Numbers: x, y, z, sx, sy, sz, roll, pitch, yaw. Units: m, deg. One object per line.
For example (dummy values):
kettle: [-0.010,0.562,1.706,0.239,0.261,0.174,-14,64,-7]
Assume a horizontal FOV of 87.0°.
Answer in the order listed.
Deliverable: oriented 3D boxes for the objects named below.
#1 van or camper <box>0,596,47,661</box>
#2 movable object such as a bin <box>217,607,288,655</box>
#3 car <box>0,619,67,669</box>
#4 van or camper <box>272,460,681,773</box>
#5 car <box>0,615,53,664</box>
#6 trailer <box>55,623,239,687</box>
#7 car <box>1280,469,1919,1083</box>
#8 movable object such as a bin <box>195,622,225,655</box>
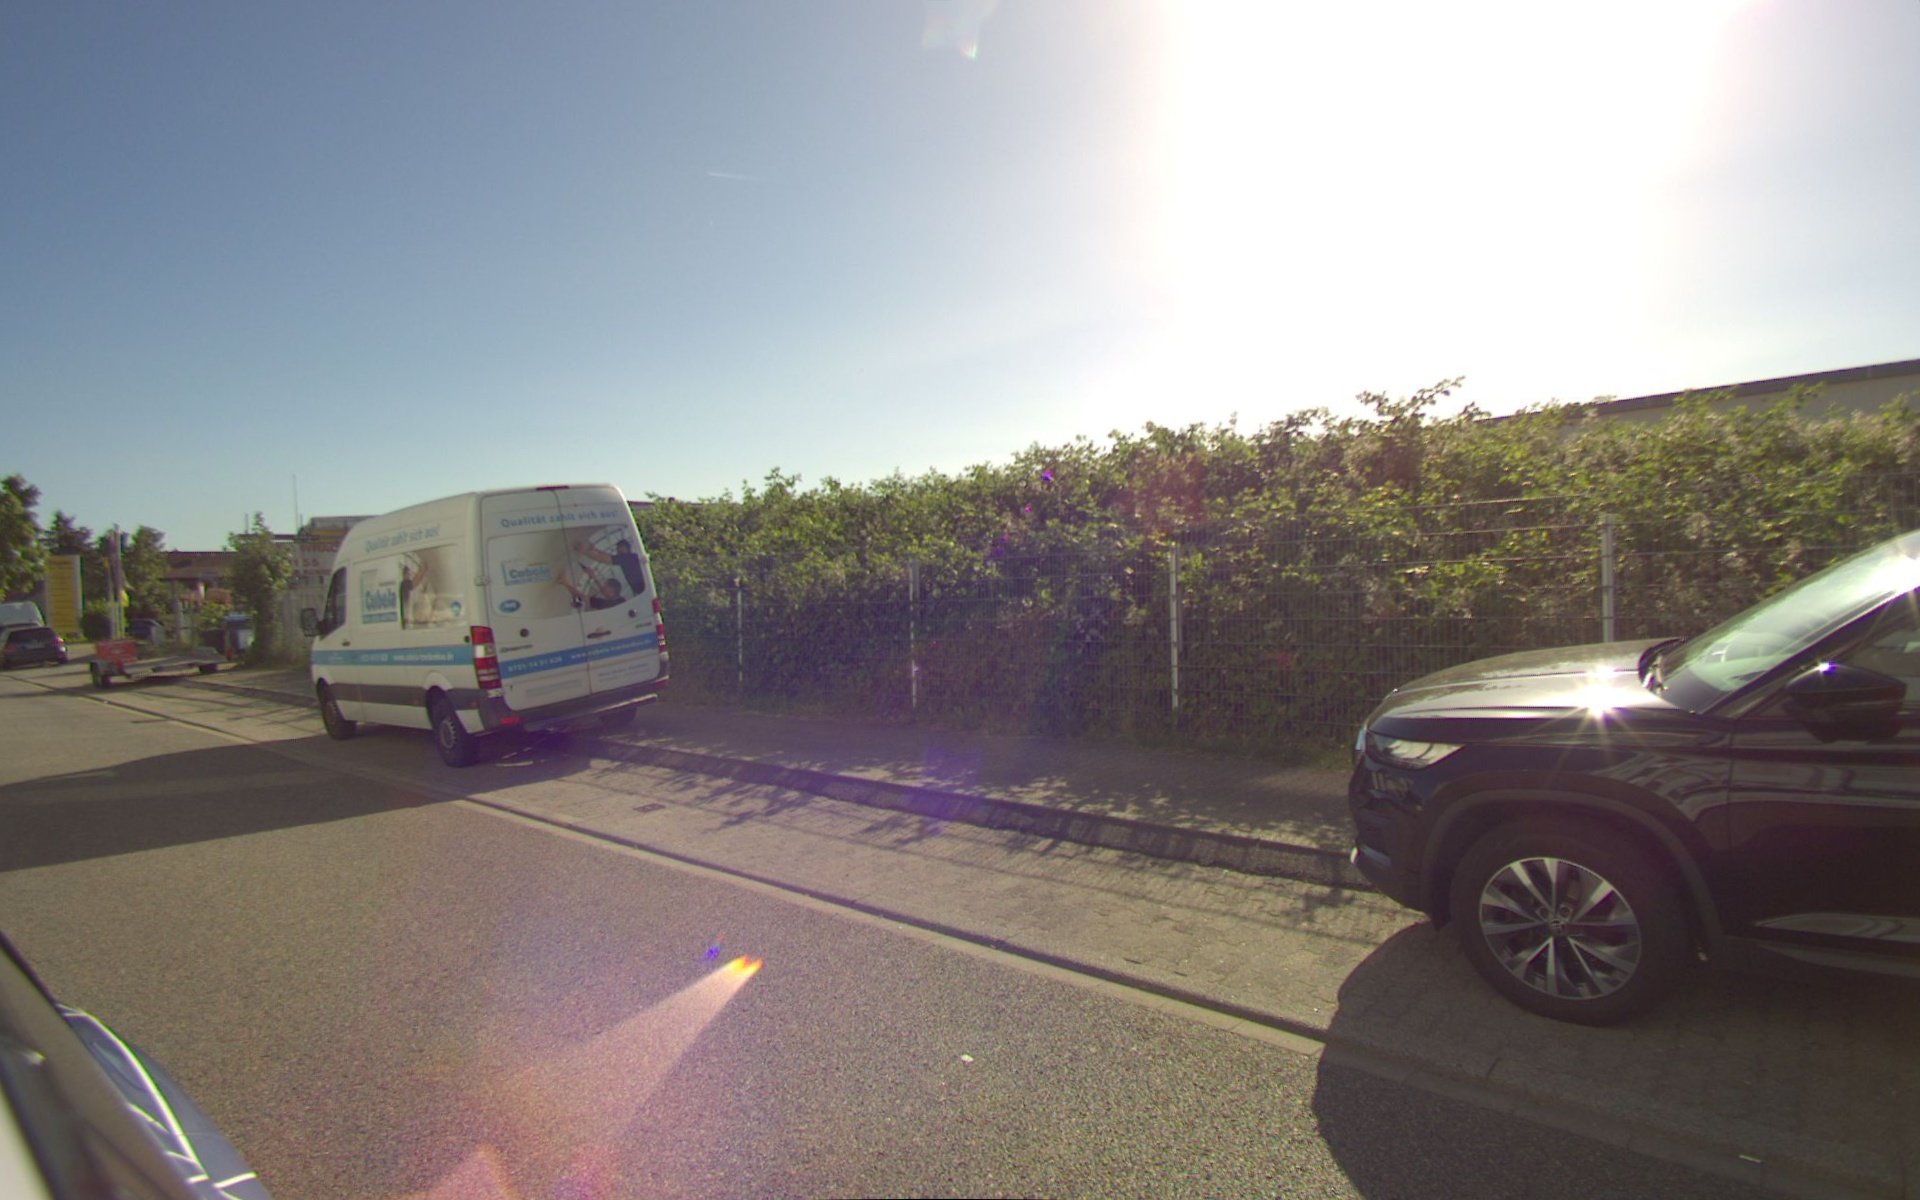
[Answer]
van or camper: [-42.210,1.285,44.577,6.401,2.567,2.050,-2,4,42]
movable object such as a bin: [-22.659,0.965,32.472,1.596,1.415,1.099,-3,1,-21]
car: [-34.356,1.575,37.096,5.001,1.520,1.781,-1,4,42]
van or camper: [-5.776,0.112,11.566,5.948,2.704,1.946,-1,6,43]
car: [-38.135,1.582,40.795,4.577,1.750,1.972,-1,4,45]
trailer: [-19.760,1.287,24.455,6.242,1.087,2.352,-2,4,41]
car: [3.875,0.395,3.071,5.103,1.706,2.011,-2,5,40]
movable object such as a bin: [-23.877,1.229,32.225,0.606,0.979,0.752,-2,2,-24]
